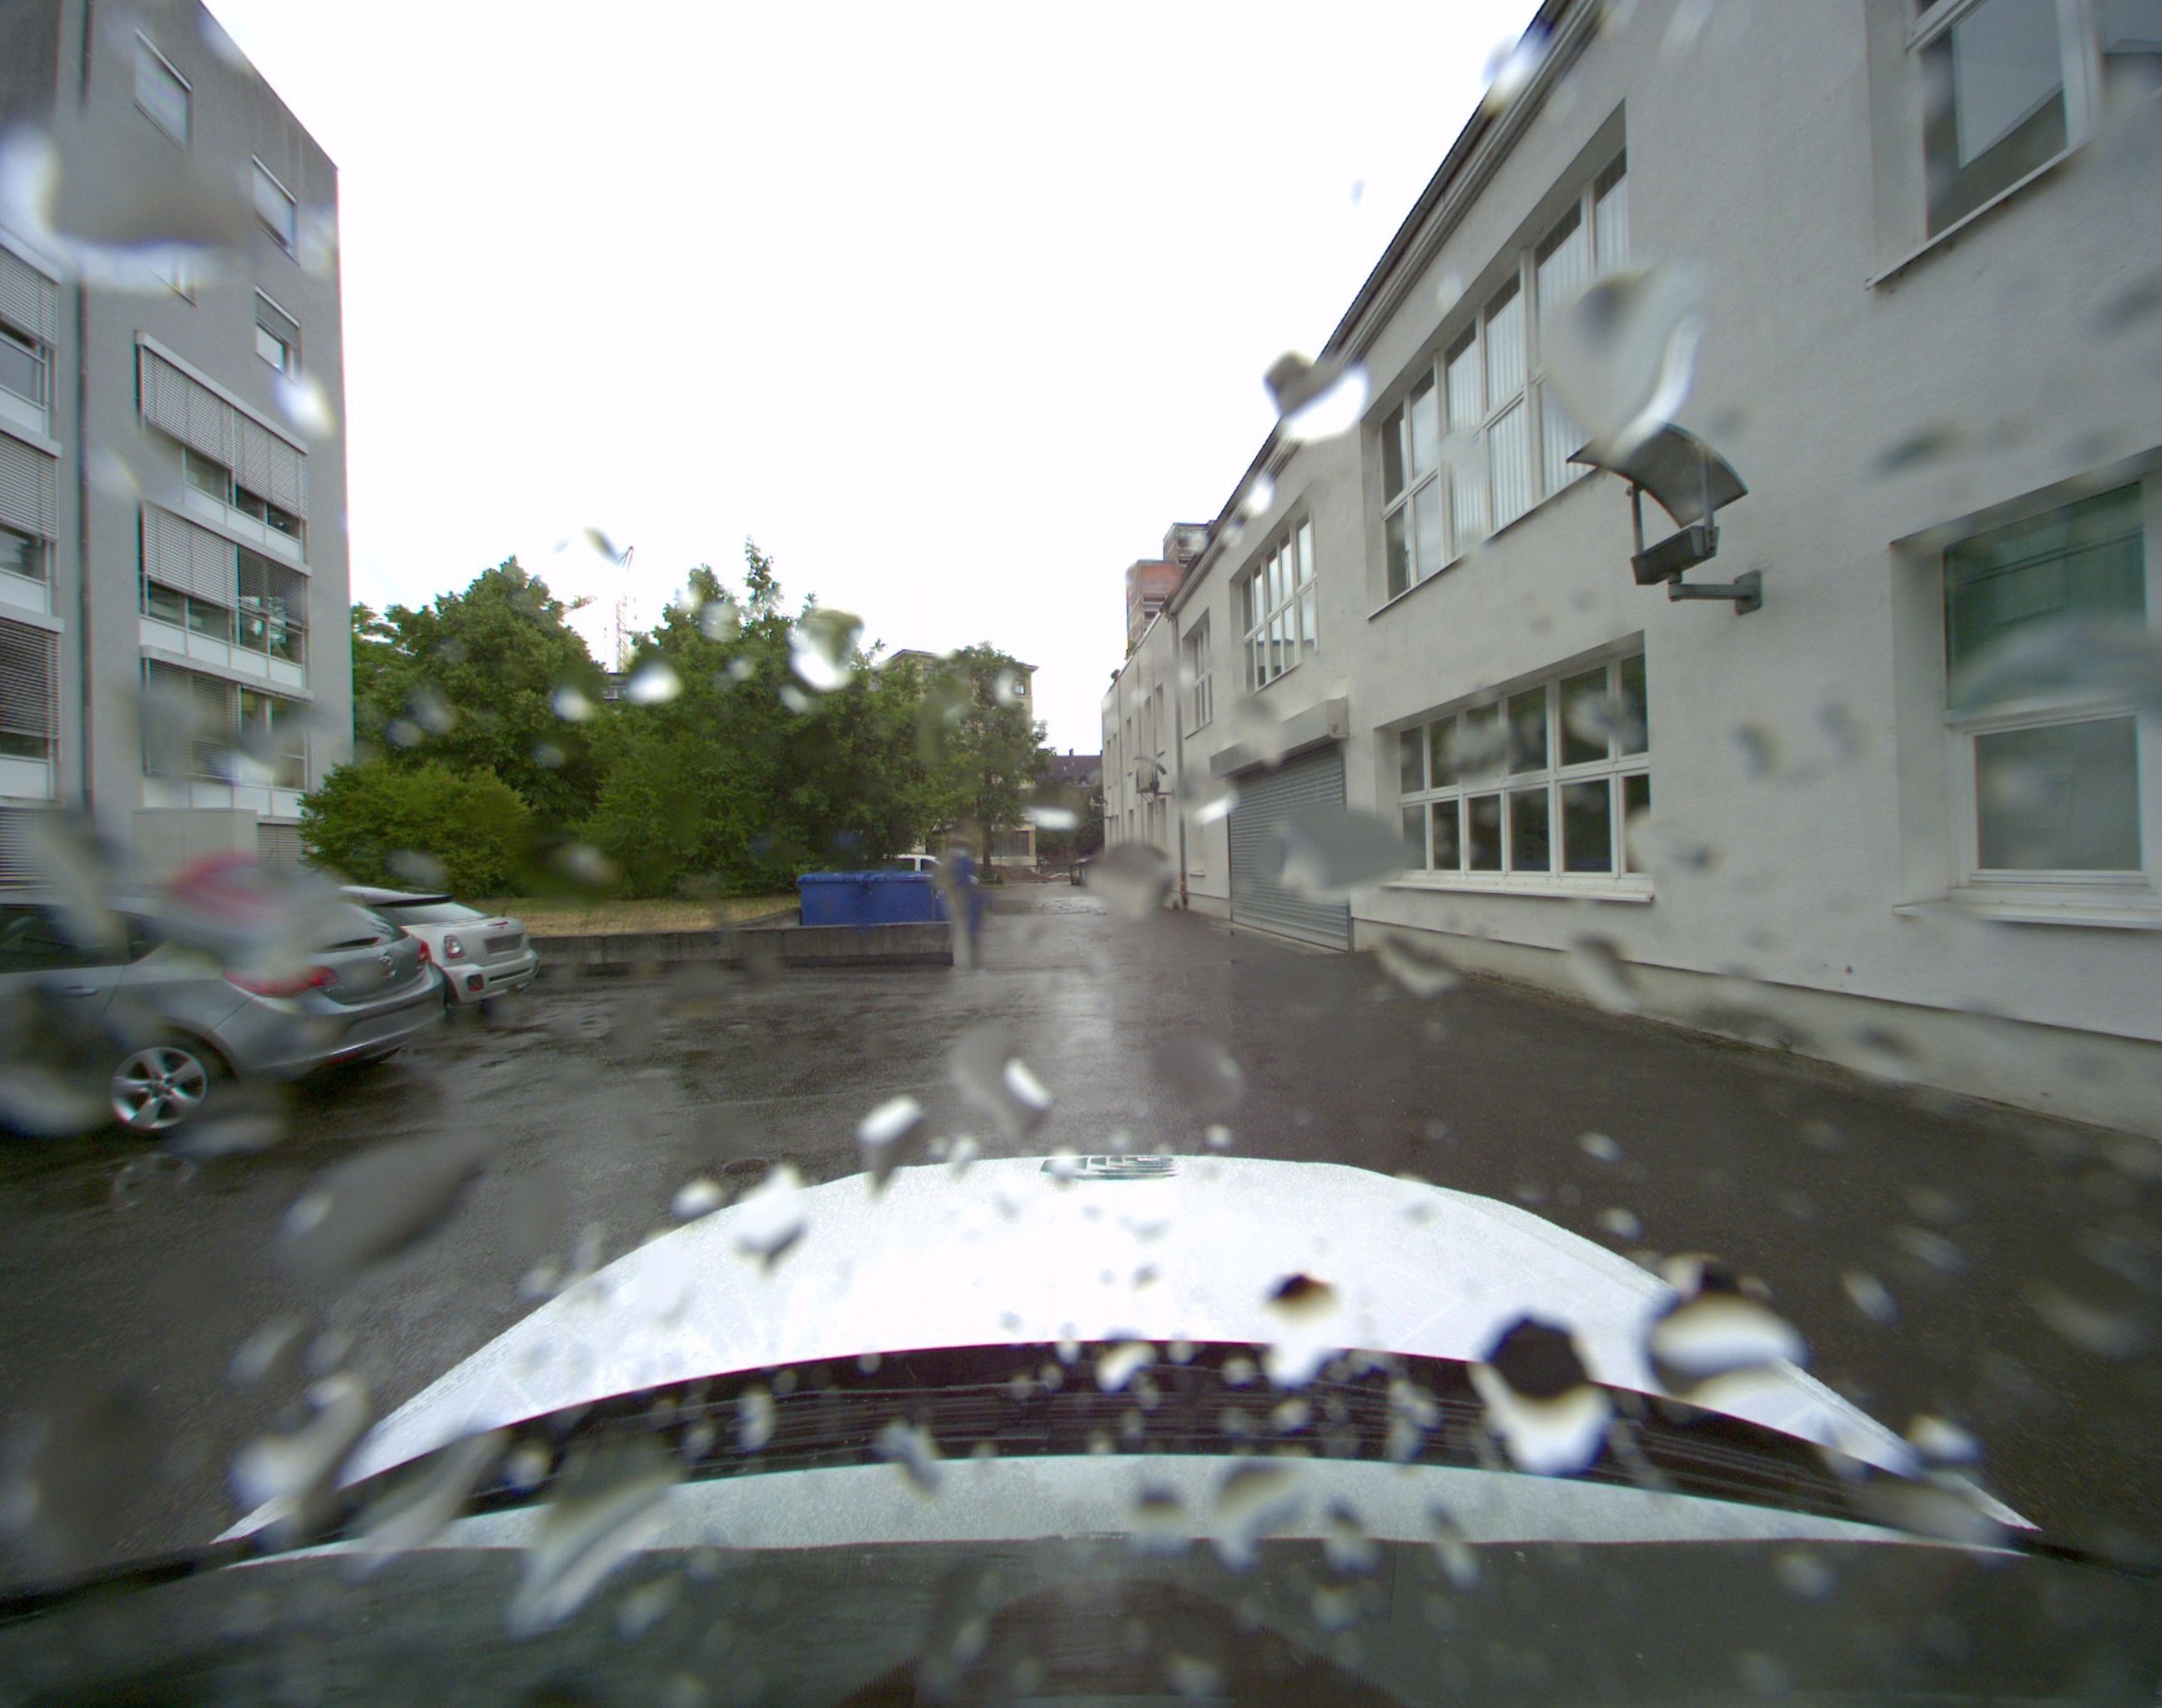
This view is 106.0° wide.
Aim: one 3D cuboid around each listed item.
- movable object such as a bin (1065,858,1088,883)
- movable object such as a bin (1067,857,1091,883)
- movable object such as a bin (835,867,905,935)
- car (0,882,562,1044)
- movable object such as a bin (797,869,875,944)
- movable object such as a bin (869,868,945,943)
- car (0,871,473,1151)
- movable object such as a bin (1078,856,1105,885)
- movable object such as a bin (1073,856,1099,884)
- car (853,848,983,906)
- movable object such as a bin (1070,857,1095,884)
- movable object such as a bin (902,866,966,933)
[{"bbox_3d":[-0.275,1.019,48.691,1.214,1.437,1.255,-1,-3,-8],"label":"movable object such as a bin"},{"bbox_3d":[-0.118,0.954,47.326,1.214,1.437,1.255,-1,-3,-8],"label":"movable object such as a bin"},{"bbox_3d":[-4.430,0.971,17.194,1.219,1.337,1.005,-2,1,-5],"label":"movable object such as a bin"},{"bbox_3d":[-8.020,1.007,8.302,4.165,1.333,1.816,1,0,-10],"label":"car"},{"bbox_3d":[-4.639,0.972,15.523,1.201,1.337,1.115,0,1,-5],"label":"movable object such as a bin"},{"bbox_3d":[-3.327,0.967,15.690,1.199,1.337,1.116,-2,-1,-2],"label":"movable object such as a bin"},{"bbox_3d":[-6.882,0.945,5.362,4.167,1.483,1.815,-2,0,-11],"label":"car"},{"bbox_3d":[0.532,0.855,42.586,1.214,1.437,1.232,-1,-3,-8],"label":"movable object such as a bin"},{"bbox_3d":[0.256,0.889,44.350,1.214,1.437,1.290,-1,-3,-8],"label":"movable object such as a bin"},{"bbox_3d":[-6.424,0.888,32.553,4.773,2.013,1.997,-3,0,-5],"label":"car"},{"bbox_3d":[0.078,0.924,45.966,1.214,1.468,1.232,-1,-3,-8],"label":"movable object such as a bin"},{"bbox_3d":[-3.125,0.943,17.457,1.219,1.337,1.005,-2,0,-5],"label":"movable object such as a bin"}]
